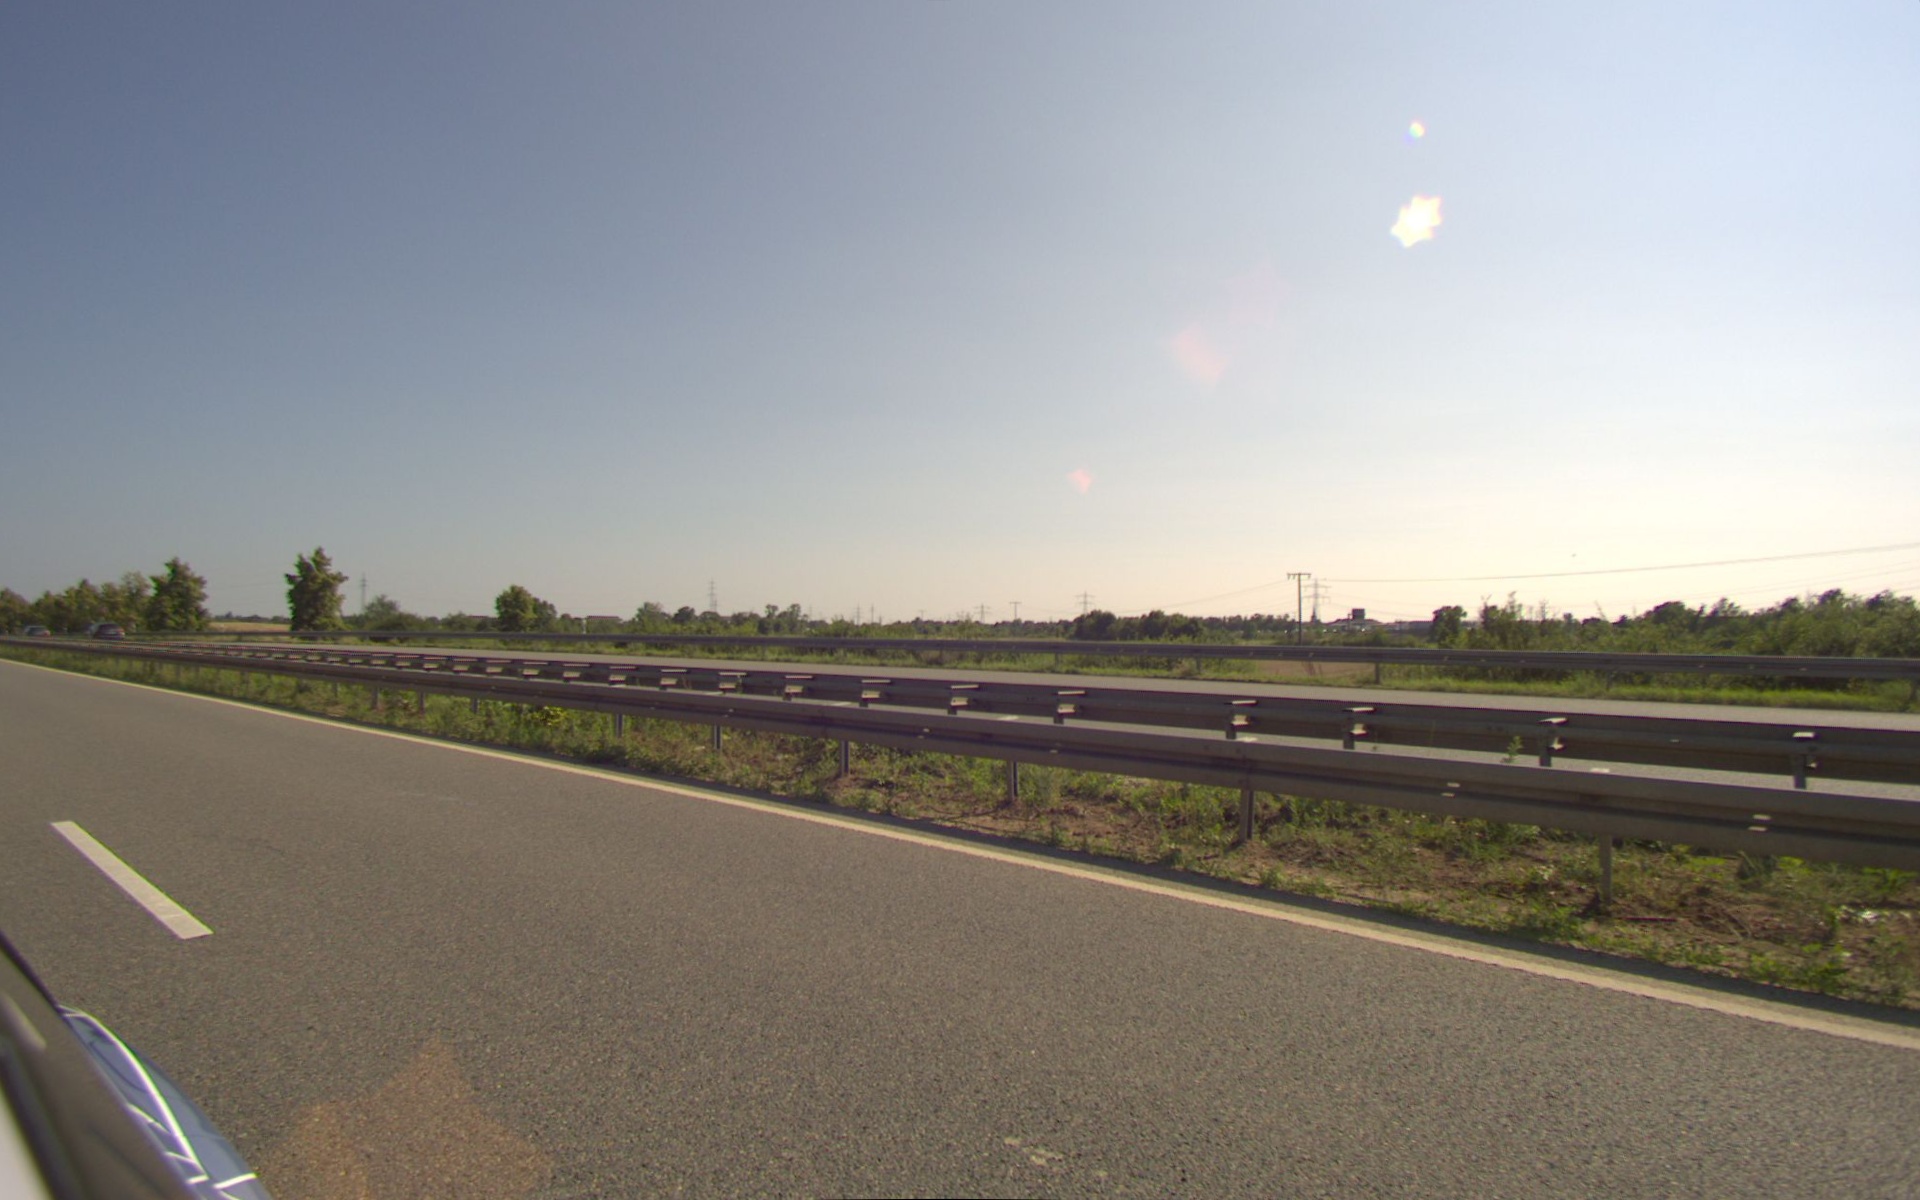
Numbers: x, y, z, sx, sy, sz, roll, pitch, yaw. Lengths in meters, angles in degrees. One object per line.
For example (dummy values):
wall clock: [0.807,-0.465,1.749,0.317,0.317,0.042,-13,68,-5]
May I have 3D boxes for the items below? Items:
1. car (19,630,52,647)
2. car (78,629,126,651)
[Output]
car: [-85.099,3.551,93.153,4.319,1.461,1.696,-2,-2,40]
car: [-61.775,2.842,72.854,4.932,1.445,1.849,-2,0,41]
